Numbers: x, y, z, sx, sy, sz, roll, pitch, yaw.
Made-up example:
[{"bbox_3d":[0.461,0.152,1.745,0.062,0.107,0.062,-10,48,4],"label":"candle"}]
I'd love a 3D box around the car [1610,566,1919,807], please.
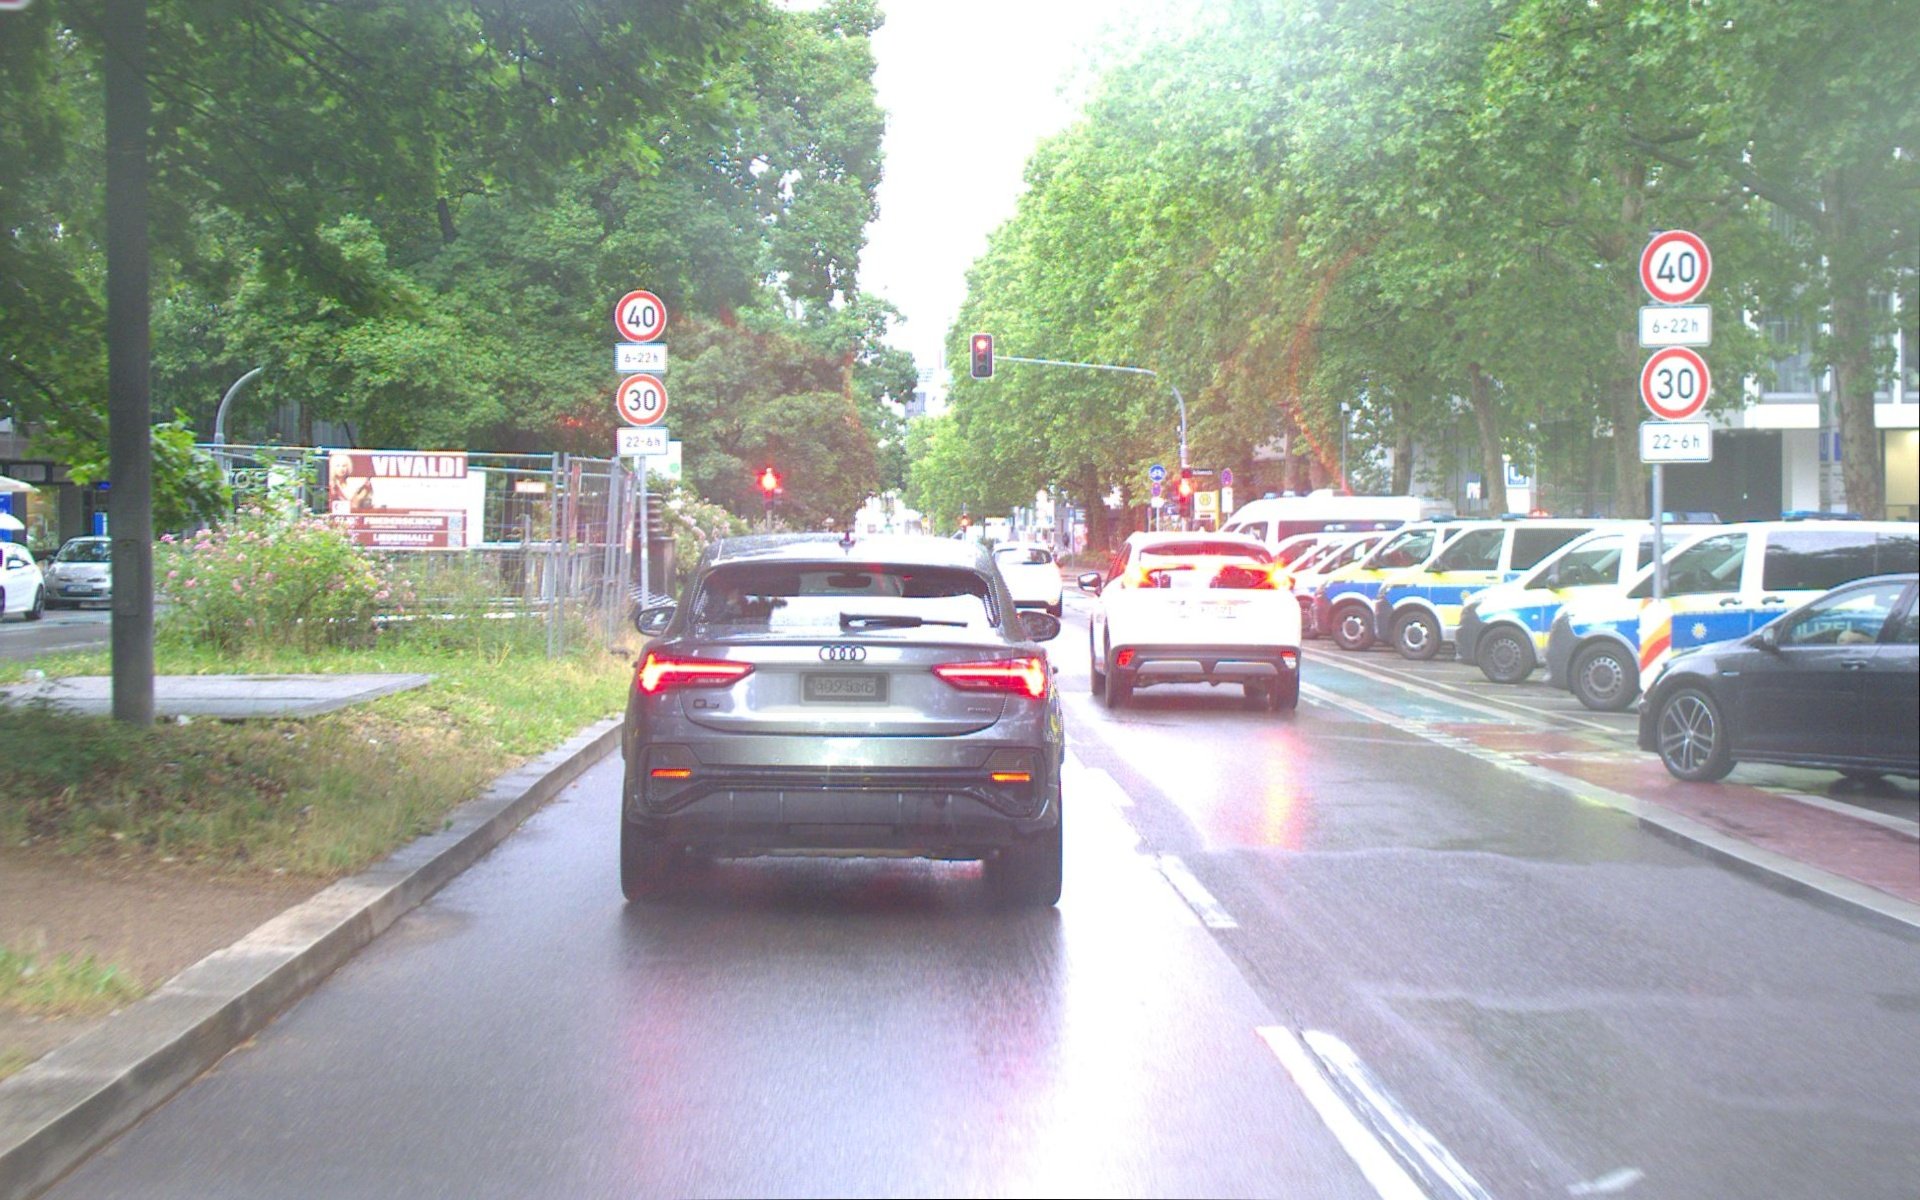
[{"bbox_3d":[6.173,0.517,21.662,1.765,1.408,4.000,-1,2,-35],"label":"car"}]

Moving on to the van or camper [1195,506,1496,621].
[{"bbox_3d":[7.181,-0.692,64.205,5.202,1.985,1.996,2,1,34],"label":"van or camper"}]

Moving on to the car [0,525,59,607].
[{"bbox_3d":[-17.582,-0.636,61.014,1.993,1.365,4.540,2,1,-1],"label":"car"}]

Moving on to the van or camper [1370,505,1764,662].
[{"bbox_3d":[8.107,-0.254,46.136,4.849,1.991,1.864,1,1,36],"label":"van or camper"}]

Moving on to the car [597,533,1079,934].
[{"bbox_3d":[-0.469,0.478,15.656,1.863,1.527,4.527,1,1,0],"label":"car"}]

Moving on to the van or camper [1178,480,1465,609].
[{"bbox_3d":[7.715,-1.211,73.741,5.809,2.668,2.143,1,1,37],"label":"van or camper"}]

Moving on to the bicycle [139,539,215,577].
[{"bbox_3d":[-20.248,-1.090,88.957,1.844,0.975,0.566,0,1,-4],"label":"bicycle"}]

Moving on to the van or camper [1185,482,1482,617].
[{"bbox_3d":[7.619,-1.046,70.484,5.804,2.671,1.996,1,1,35],"label":"van or camper"}]

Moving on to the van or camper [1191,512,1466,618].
[{"bbox_3d":[7.220,-0.682,67.598,5.010,2.007,1.996,1,0,35],"label":"van or camper"}]

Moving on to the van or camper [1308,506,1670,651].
[{"bbox_3d":[7.666,-0.343,49.994,4.789,2.004,1.996,1,1,35],"label":"van or camper"}]

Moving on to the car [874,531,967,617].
[{"bbox_3d":[-0.777,-0.515,65.689,1.721,1.572,3.962,0,1,-1],"label":"car"}]

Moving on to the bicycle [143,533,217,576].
[{"bbox_3d":[-20.332,-1.189,89.597,1.844,1.094,0.615,0,1,-9],"label":"bicycle"}]

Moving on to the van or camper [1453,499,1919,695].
[{"bbox_3d":[8.388,-0.075,39.165,5.082,2.012,1.993,2,1,36],"label":"van or camper"}]

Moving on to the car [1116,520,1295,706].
[{"bbox_3d":[2.290,0.085,32.603,1.433,1.679,2.979,0,1,-1],"label":"car"}]

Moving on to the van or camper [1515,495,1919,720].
[{"bbox_3d":[7.994,0.047,32.737,4.942,1.985,1.998,2,1,37],"label":"van or camper"}]

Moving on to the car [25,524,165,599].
[{"bbox_3d":[-17.957,-0.821,71.538,1.993,1.504,4.519,0,1,-3],"label":"car"}]

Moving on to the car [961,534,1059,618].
[{"bbox_3d":[1.049,-0.535,74.073,1.993,1.744,4.000,0,1,-1],"label":"car"}]

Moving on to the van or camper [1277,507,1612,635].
[{"bbox_3d":[7.991,-0.517,56.935,5.102,2.018,2.101,1,1,37],"label":"van or camper"}]
